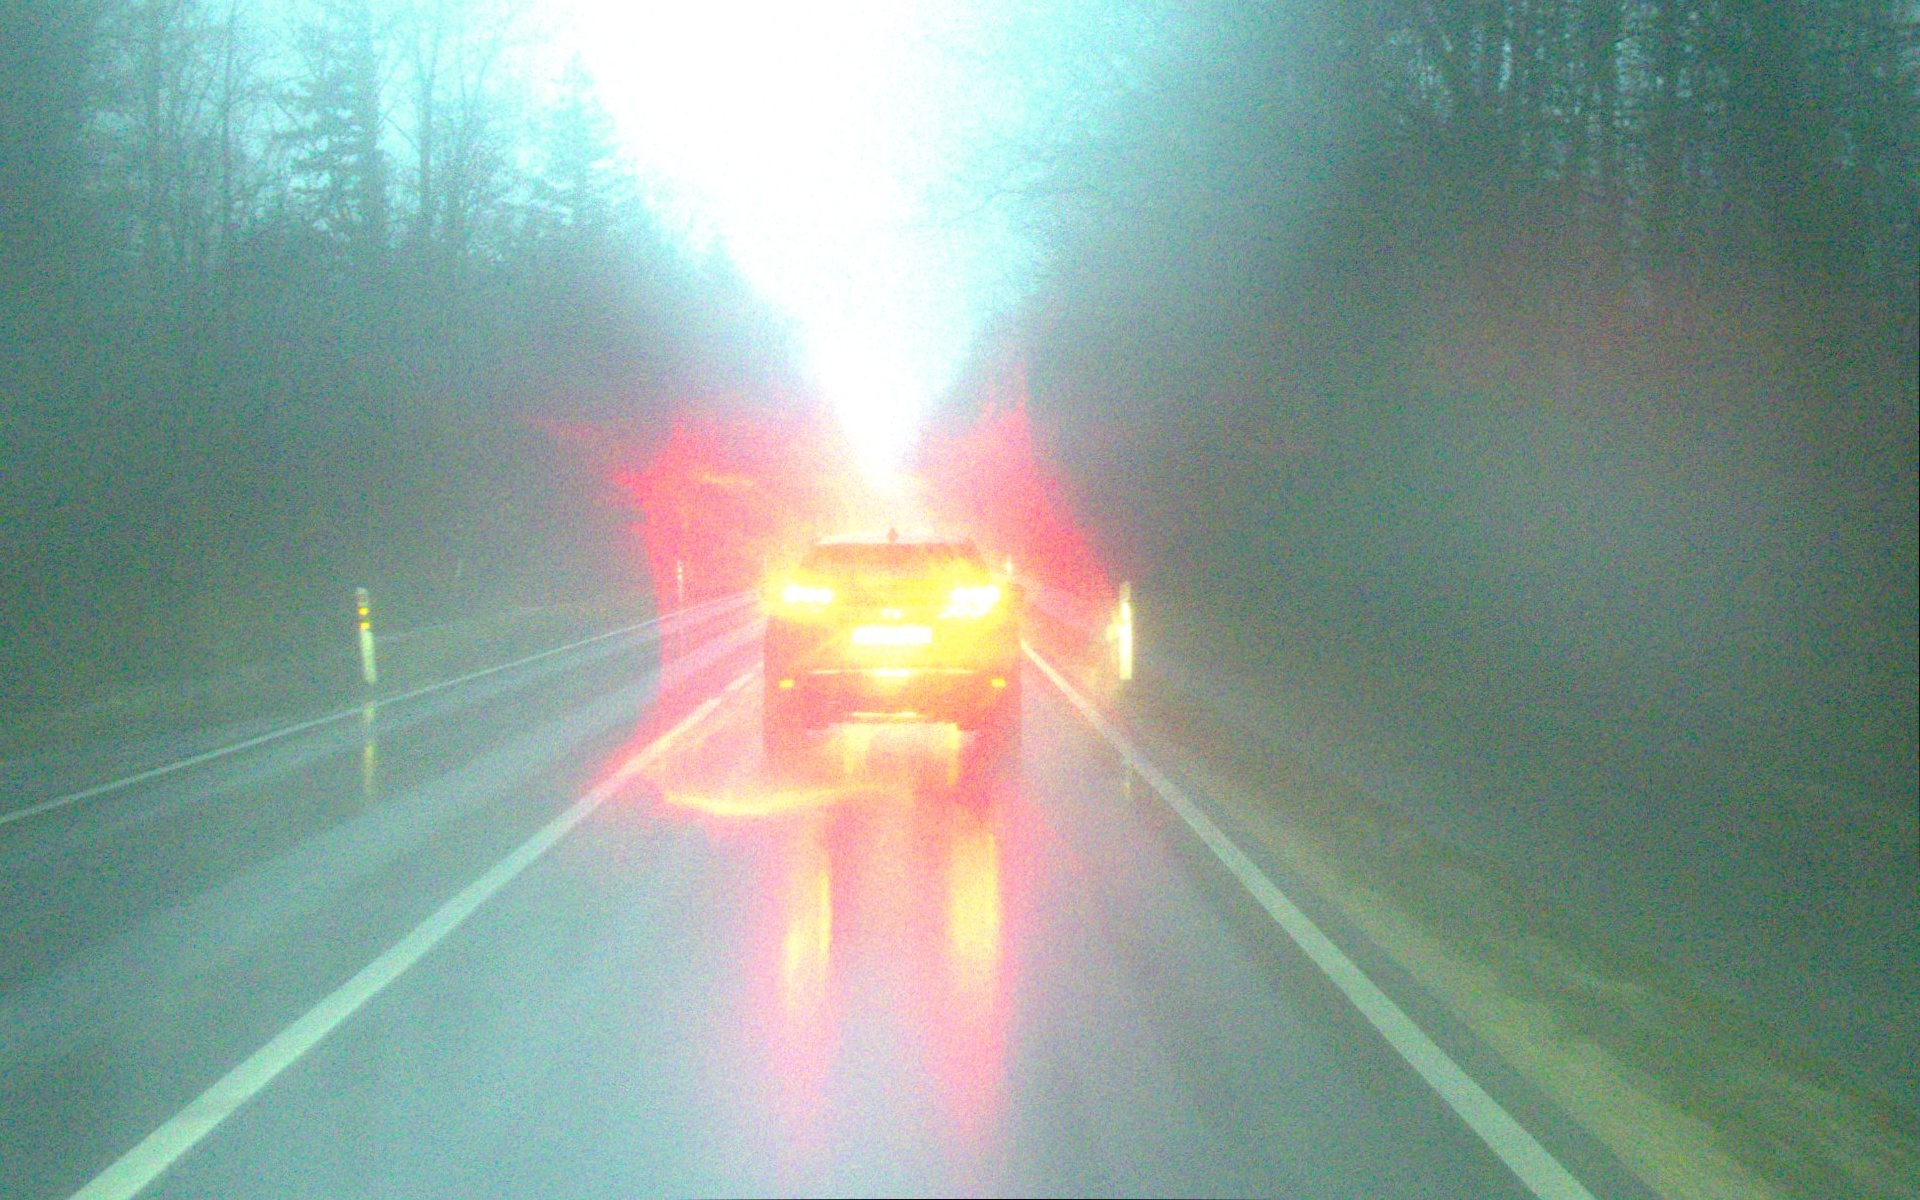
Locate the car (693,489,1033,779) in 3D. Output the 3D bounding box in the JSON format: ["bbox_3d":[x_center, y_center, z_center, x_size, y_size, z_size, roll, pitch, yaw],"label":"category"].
[{"bbox_3d":[-0.681,0.178,24.897,2.198,1.871,4.827,1,1,-1],"label":"car"}]
